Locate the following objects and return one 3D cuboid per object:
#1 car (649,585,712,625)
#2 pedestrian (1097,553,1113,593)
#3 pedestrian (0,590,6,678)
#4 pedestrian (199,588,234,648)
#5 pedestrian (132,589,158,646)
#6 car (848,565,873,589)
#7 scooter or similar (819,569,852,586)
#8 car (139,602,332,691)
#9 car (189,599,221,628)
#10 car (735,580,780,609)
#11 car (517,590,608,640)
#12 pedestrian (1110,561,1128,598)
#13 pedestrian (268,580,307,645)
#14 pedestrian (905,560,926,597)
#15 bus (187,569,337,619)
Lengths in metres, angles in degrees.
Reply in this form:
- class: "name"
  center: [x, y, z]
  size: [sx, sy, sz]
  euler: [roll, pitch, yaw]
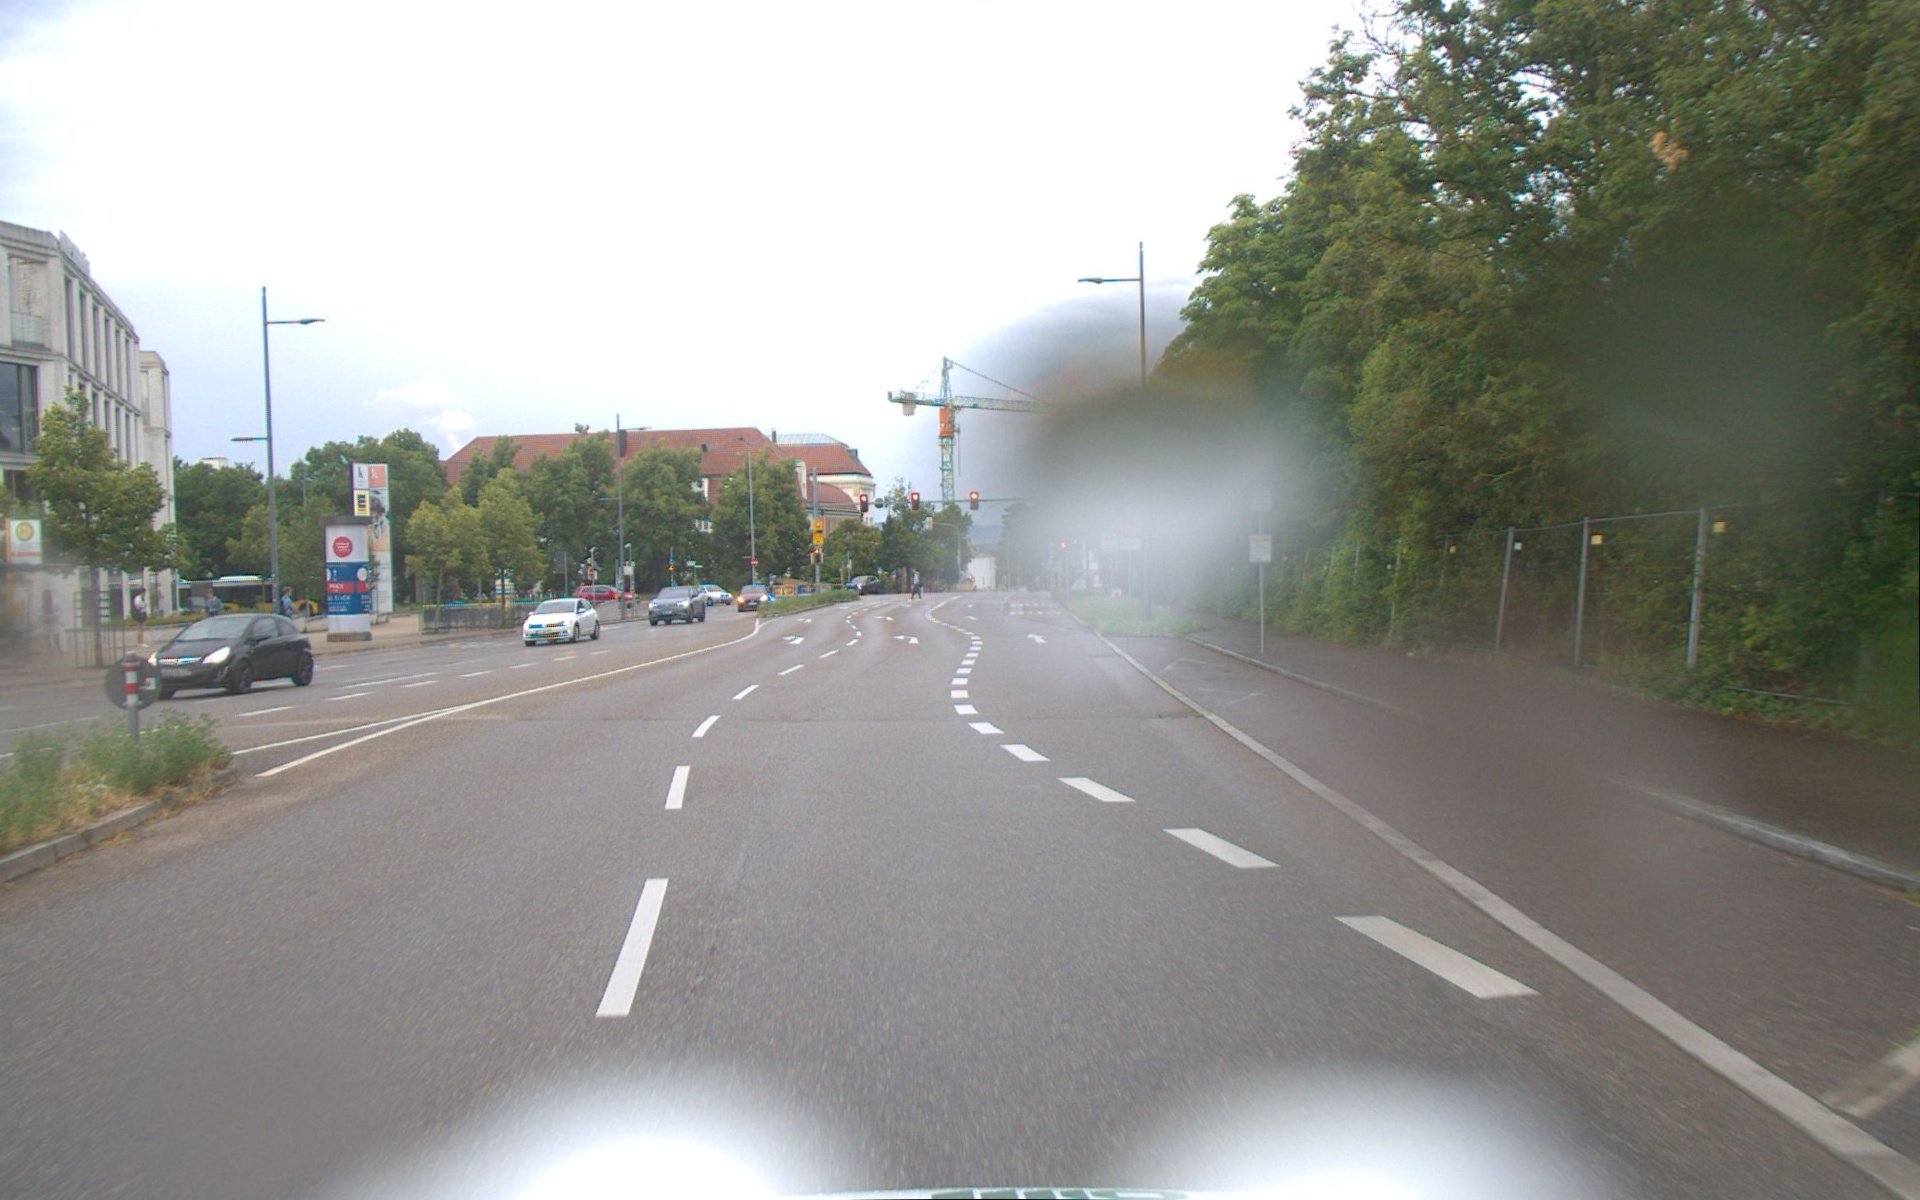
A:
- class: "car"
  center: [-12.327, 0.192, 73.217]
  size: [1.794, 1.599, 4.595]
  euler: [-4, 0, 2]
- class: "pedestrian"
  center: [7.209, -1.350, 82.355]
  size: [0.628, 1.934, 0.718]
  euler: [-2, 1, -4]
- class: "pedestrian"
  center: [-20.837, 0.737, 35.249]
  size: [0.497, 1.874, 0.756]
  euler: [-2, 0, 1]
- class: "pedestrian"
  center: [-22.758, 0.553, 50.608]
  size: [0.586, 1.792, 0.858]
  euler: [-2, 0, 4]
- class: "pedestrian"
  center: [-24.847, 0.534, 50.437]
  size: [0.489, 1.719, 0.912]
  euler: [-2, 0, -14]
- class: "car"
  center: [-8.422, -1.930, 139.853]
  size: [1.953, 1.870, 3.999]
  euler: [0, -1, -1]
- class: "scooter or similar"
  center: [-11.683, -2.097, 155.439]
  size: [3.024, 1.465, 0.949]
  euler: [-2, 1, 0]
- class: "car"
  center: [-13.702, 0.827, 31.524]
  size: [1.808, 1.487, 3.868]
  euler: [-3, 0, 2]
- class: "car"
  center: [-48.740, 0.865, 106.779]
  size: [1.752, 1.761, 3.967]
  euler: [-2, 1, -26]
- class: "car"
  center: [-11.688, -0.349, 95.780]
  size: [1.794, 1.440, 4.467]
  euler: [-4, 1, 2]
- class: "car"
  center: [-13.192, 0.479, 55.111]
  size: [1.834, 1.454, 4.177]
  euler: [-4, 0, 2]
- class: "pedestrian"
  center: [7.463, -0.975, 77.822]
  size: [0.662, 1.686, 0.792]
  euler: [-2, 1, -4]
- class: "pedestrian"
  center: [-19.763, 0.354, 48.606]
  size: [0.737, 1.874, 0.747]
  euler: [-2, 0, 4]
- class: "pedestrian"
  center: [-2.541, -1.249, 95.209]
  size: [0.920, 2.048, 0.848]
  euler: [-4, 1, 7]
- class: "bus"
  center: [-49.751, -0.450, 118.002]
  size: [9.520, 3.157, 2.899]
  euler: [-2, 1, 4]
